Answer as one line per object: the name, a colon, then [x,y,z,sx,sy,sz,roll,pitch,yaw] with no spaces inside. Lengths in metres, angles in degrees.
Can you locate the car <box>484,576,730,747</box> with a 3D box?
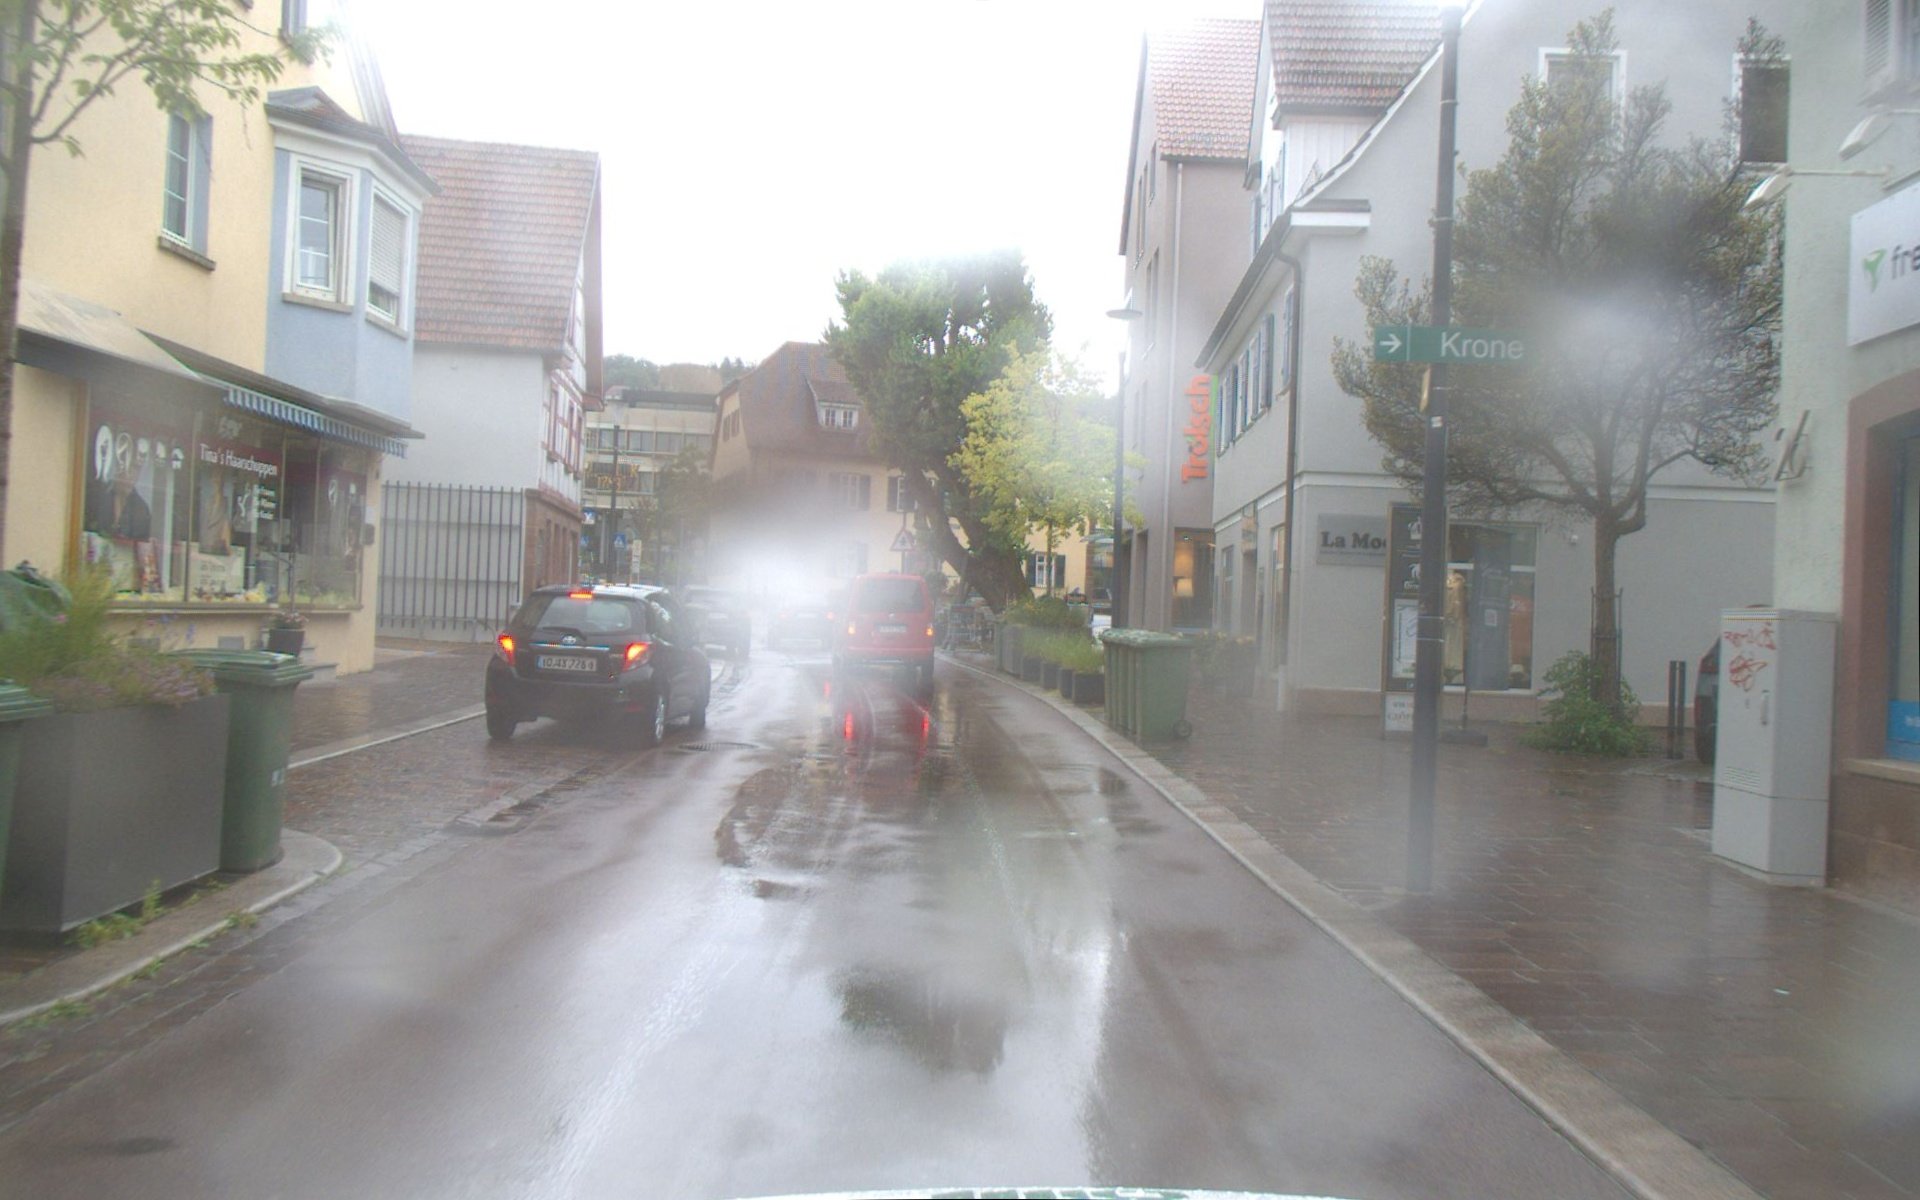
car: [-3.522,0.542,17.187,1.657,1.468,3.884,3,1,0]

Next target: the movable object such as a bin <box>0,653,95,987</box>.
movable object such as a bin: [-3.644,0.751,5.813,0.770,1.103,0.693,4,1,1]

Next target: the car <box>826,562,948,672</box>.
car: [-1.469,0.261,31.613,1.859,1.842,3.993,4,1,-8]

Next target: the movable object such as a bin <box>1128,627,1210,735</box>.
movable object such as a bin: [2.246,0.864,17.806,0.752,1.098,0.599,3,-2,0]

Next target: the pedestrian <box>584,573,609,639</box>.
pedestrian: [-9.713,0.163,44.201,0.508,1.741,0.577,3,-2,-8]

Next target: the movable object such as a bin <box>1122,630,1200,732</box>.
movable object such as a bin: [2.235,0.896,18.427,0.739,1.082,0.600,3,-2,0]

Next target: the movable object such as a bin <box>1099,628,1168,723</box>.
movable object such as a bin: [2.116,0.916,20.228,0.720,1.117,0.611,3,-2,-1]

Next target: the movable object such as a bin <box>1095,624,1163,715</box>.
movable object such as a bin: [2.126,0.870,20.833,0.738,1.109,0.656,1,0,-4]

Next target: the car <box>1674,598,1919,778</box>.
car: [9.180,0.848,17.786,1.850,1.627,4.375,2,1,35]

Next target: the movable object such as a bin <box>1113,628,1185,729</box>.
movable object such as a bin: [2.164,0.896,19.017,0.714,1.110,0.521,3,-2,0]

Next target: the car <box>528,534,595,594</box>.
car: [-19.596,-1.703,81.128,2.266,2.647,6.916,4,-1,-20]

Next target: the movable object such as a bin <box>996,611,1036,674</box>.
movable object such as a bin: [1.089,0.815,32.069,0.620,1.170,0.578,3,-2,-8]

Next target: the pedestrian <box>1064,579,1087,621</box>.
pedestrian: [5.332,0.008,76.522,0.880,1.874,0.766,3,-2,-2]

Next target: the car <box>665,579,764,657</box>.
car: [-5.612,0.374,37.468,1.758,1.521,3.986,4,0,-14]

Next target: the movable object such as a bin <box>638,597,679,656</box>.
movable object such as a bin: [-6.035,0.523,33.141,0.712,1.129,0.595,3,-2,-9]

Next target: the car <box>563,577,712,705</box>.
car: [-4.389,0.493,23.009,1.723,1.499,3.937,3,1,-8]

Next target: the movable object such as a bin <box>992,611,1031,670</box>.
movable object such as a bin: [1.012,0.792,32.657,0.620,1.123,0.578,3,-2,-8]

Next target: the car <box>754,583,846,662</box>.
car: [-4.157,0.576,42.532,1.958,1.831,3.990,3,-1,-10]

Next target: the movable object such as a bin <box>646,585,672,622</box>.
movable object such as a bin: [-9.701,0.117,53.320,0.780,1.125,0.720,3,-2,-11]

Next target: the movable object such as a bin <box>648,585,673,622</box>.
movable object such as a bin: [-9.534,0.111,52.641,0.701,1.125,0.598,3,-2,-11]

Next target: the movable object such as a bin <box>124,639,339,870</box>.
movable object such as a bin: [-3.635,0.751,8.309,0.695,1.071,0.704,3,-2,0]

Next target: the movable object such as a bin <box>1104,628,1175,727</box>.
movable object such as a bin: [2.128,0.916,19.624,0.720,1.117,0.611,3,-2,-1]

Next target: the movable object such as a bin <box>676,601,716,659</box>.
movable object such as a bin: [-5.310,0.607,33.293,0.712,1.129,0.595,3,-2,-9]
